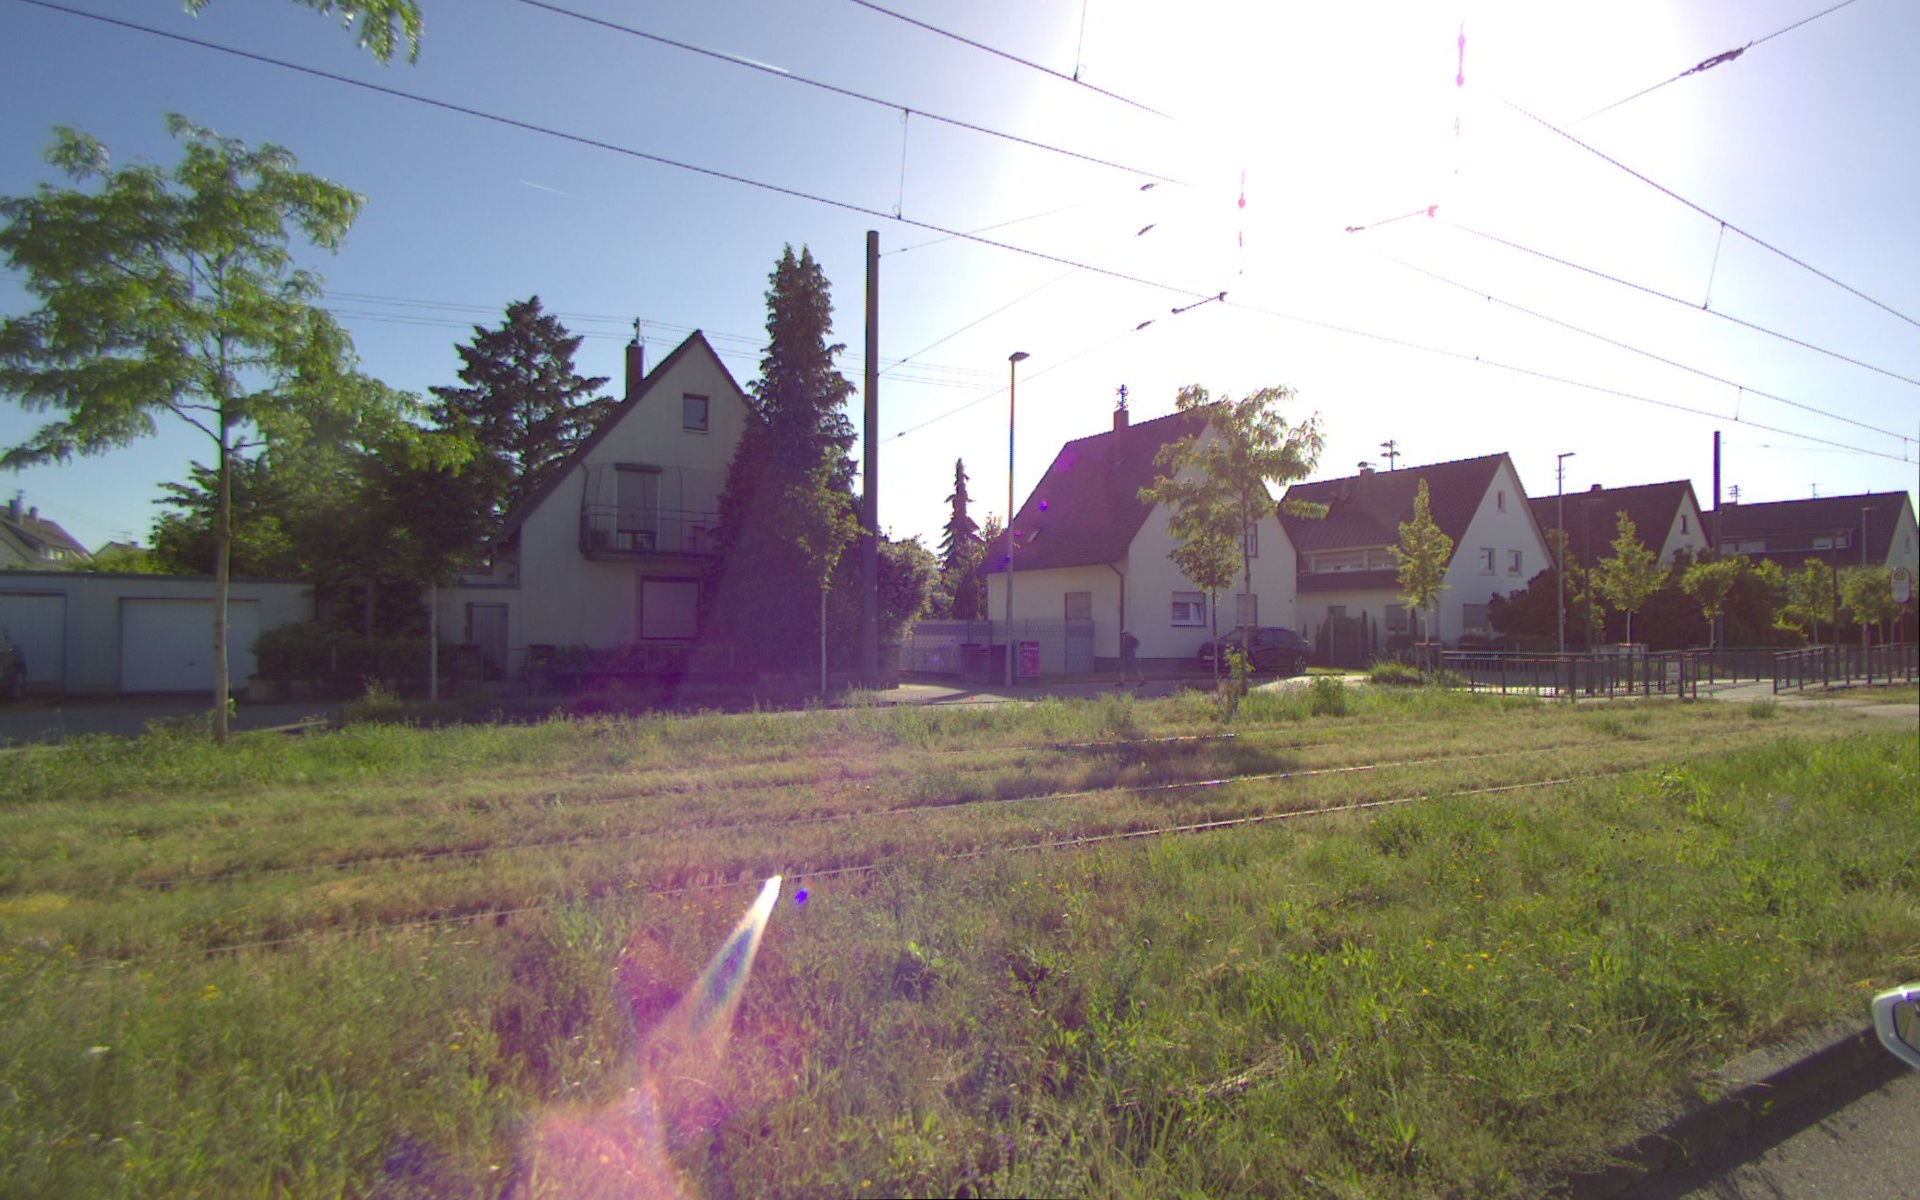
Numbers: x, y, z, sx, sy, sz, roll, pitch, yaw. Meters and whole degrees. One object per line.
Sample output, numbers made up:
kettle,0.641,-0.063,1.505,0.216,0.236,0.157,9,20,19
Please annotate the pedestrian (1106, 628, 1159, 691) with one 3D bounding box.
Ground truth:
pedestrian,4.673,1.587,27.225,1.073,1.662,0.960,1,-2,-30

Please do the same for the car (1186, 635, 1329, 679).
car,10.588,1.973,35.603,5.102,1.469,1.925,1,-2,-31

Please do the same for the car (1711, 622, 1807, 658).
car,43.997,2.166,55.357,1.783,1.830,3.816,2,-1,-37

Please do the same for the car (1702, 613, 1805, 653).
car,42.108,1.747,53.343,1.915,1.996,3.957,2,-1,-37

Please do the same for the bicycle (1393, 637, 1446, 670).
bicycle,19.519,2.251,42.732,0.698,1.383,1.975,2,-2,-36
